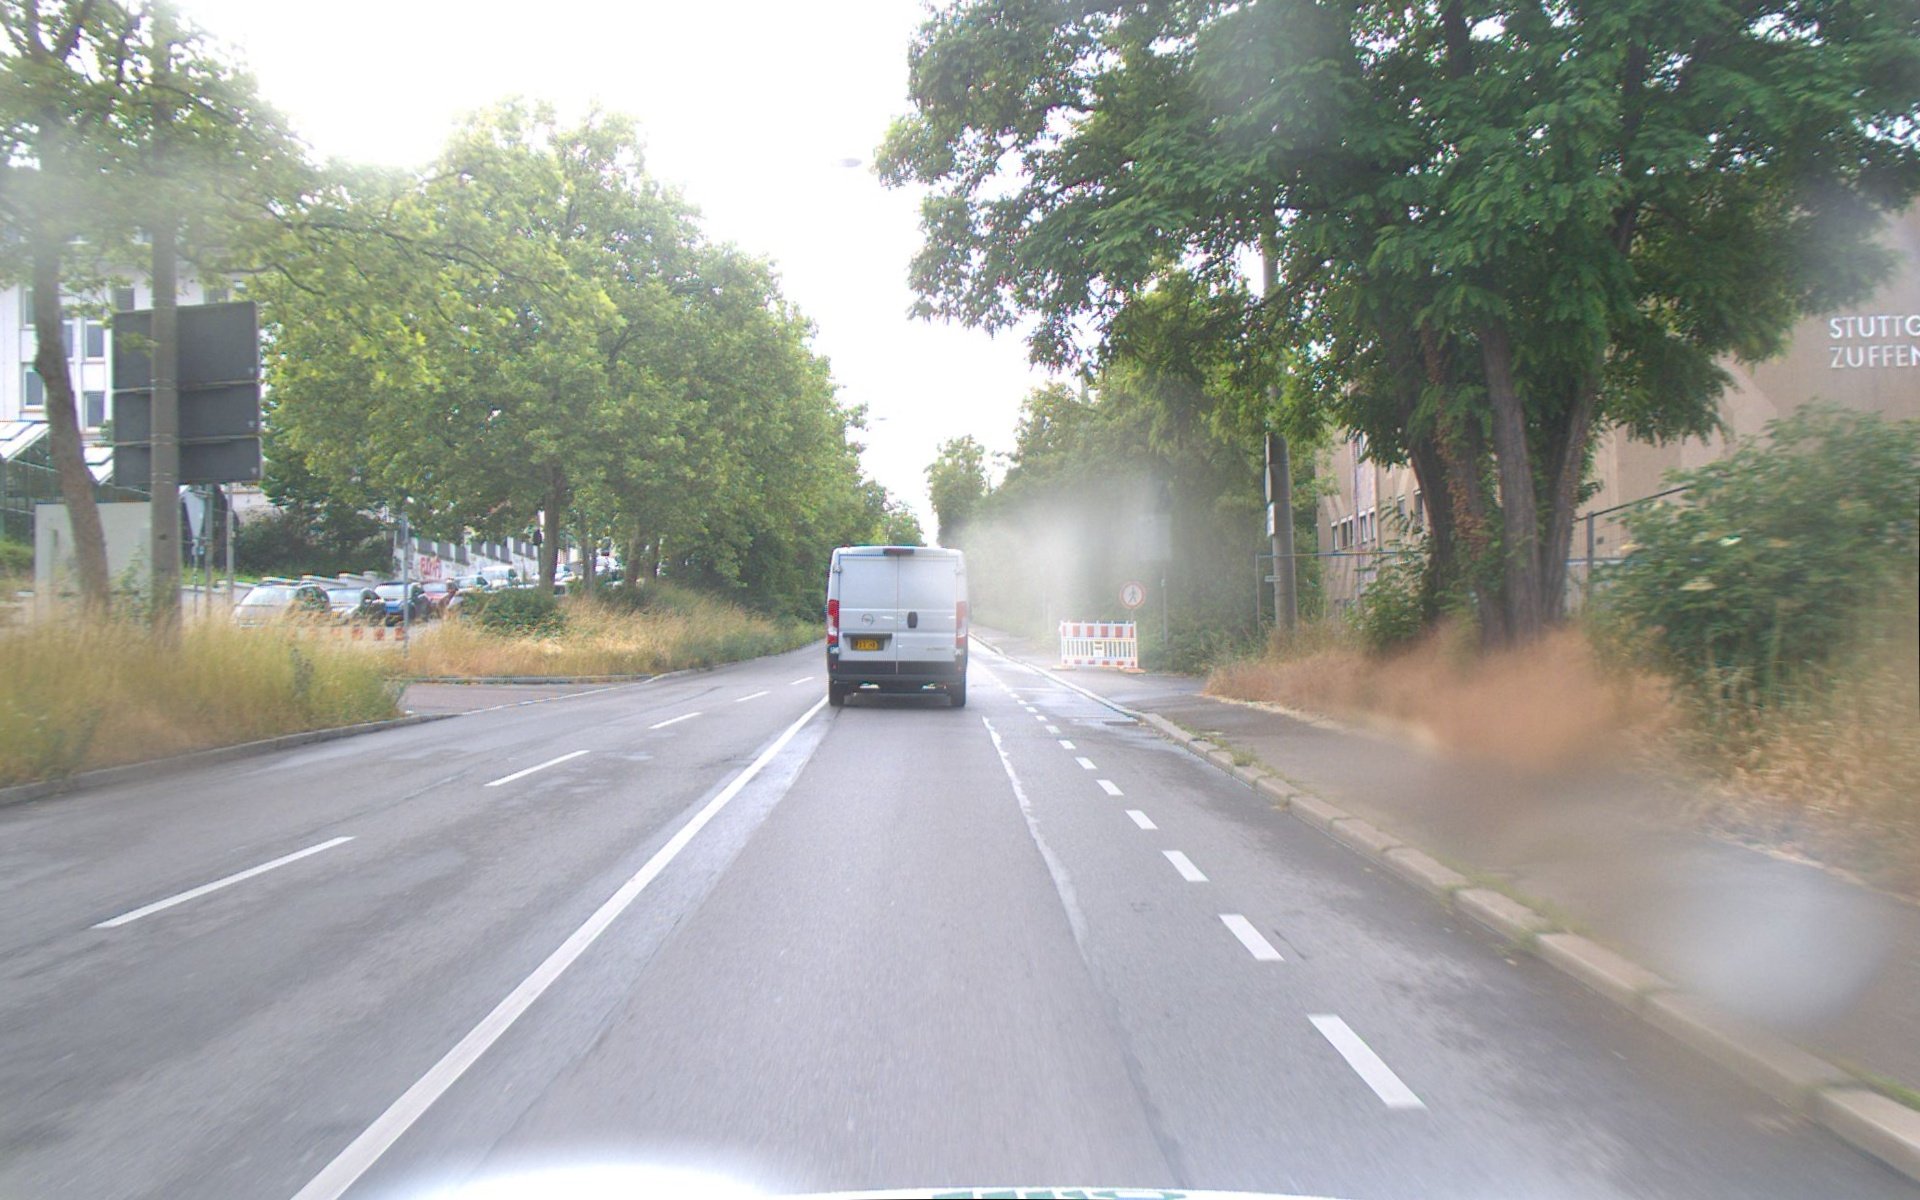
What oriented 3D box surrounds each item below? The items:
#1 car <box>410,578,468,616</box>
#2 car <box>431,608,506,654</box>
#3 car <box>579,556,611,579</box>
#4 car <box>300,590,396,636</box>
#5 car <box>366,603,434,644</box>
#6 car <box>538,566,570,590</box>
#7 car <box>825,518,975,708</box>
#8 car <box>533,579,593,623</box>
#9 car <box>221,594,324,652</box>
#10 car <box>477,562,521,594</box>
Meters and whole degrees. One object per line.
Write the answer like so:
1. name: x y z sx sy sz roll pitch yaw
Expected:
1. car: -20.353 -0.088 64.713 1.332 1.333 3.085 -2 -2 -2
2. car: -13.113 0.851 44.239 1.323 1.150 2.750 -2 -2 -4
3. car: -23.500 -2.097 106.581 1.568 1.272 2.907 -2 -2 -5
4. car: -19.690 0.438 53.385 1.780 1.313 4.118 -2 -2 -4
5. car: -19.863 0.856 58.763 1.435 1.313 3.302 -2 -2 -4
6. car: -22.129 -1.211 90.206 1.189 1.153 2.451 -2 -2 -2
7. car: -0.887 0.164 25.354 2.008 2.560 4.942 2 0 -1
8. car: -13.742 0.059 57.354 1.406 1.385 3.173 -2 -2 -2
9. car: -19.490 0.680 47.020 1.616 1.513 3.514 -2 -2 -4
10. car: -21.181 -1.002 76.100 1.355 1.321 3.012 -2 -2 -5
